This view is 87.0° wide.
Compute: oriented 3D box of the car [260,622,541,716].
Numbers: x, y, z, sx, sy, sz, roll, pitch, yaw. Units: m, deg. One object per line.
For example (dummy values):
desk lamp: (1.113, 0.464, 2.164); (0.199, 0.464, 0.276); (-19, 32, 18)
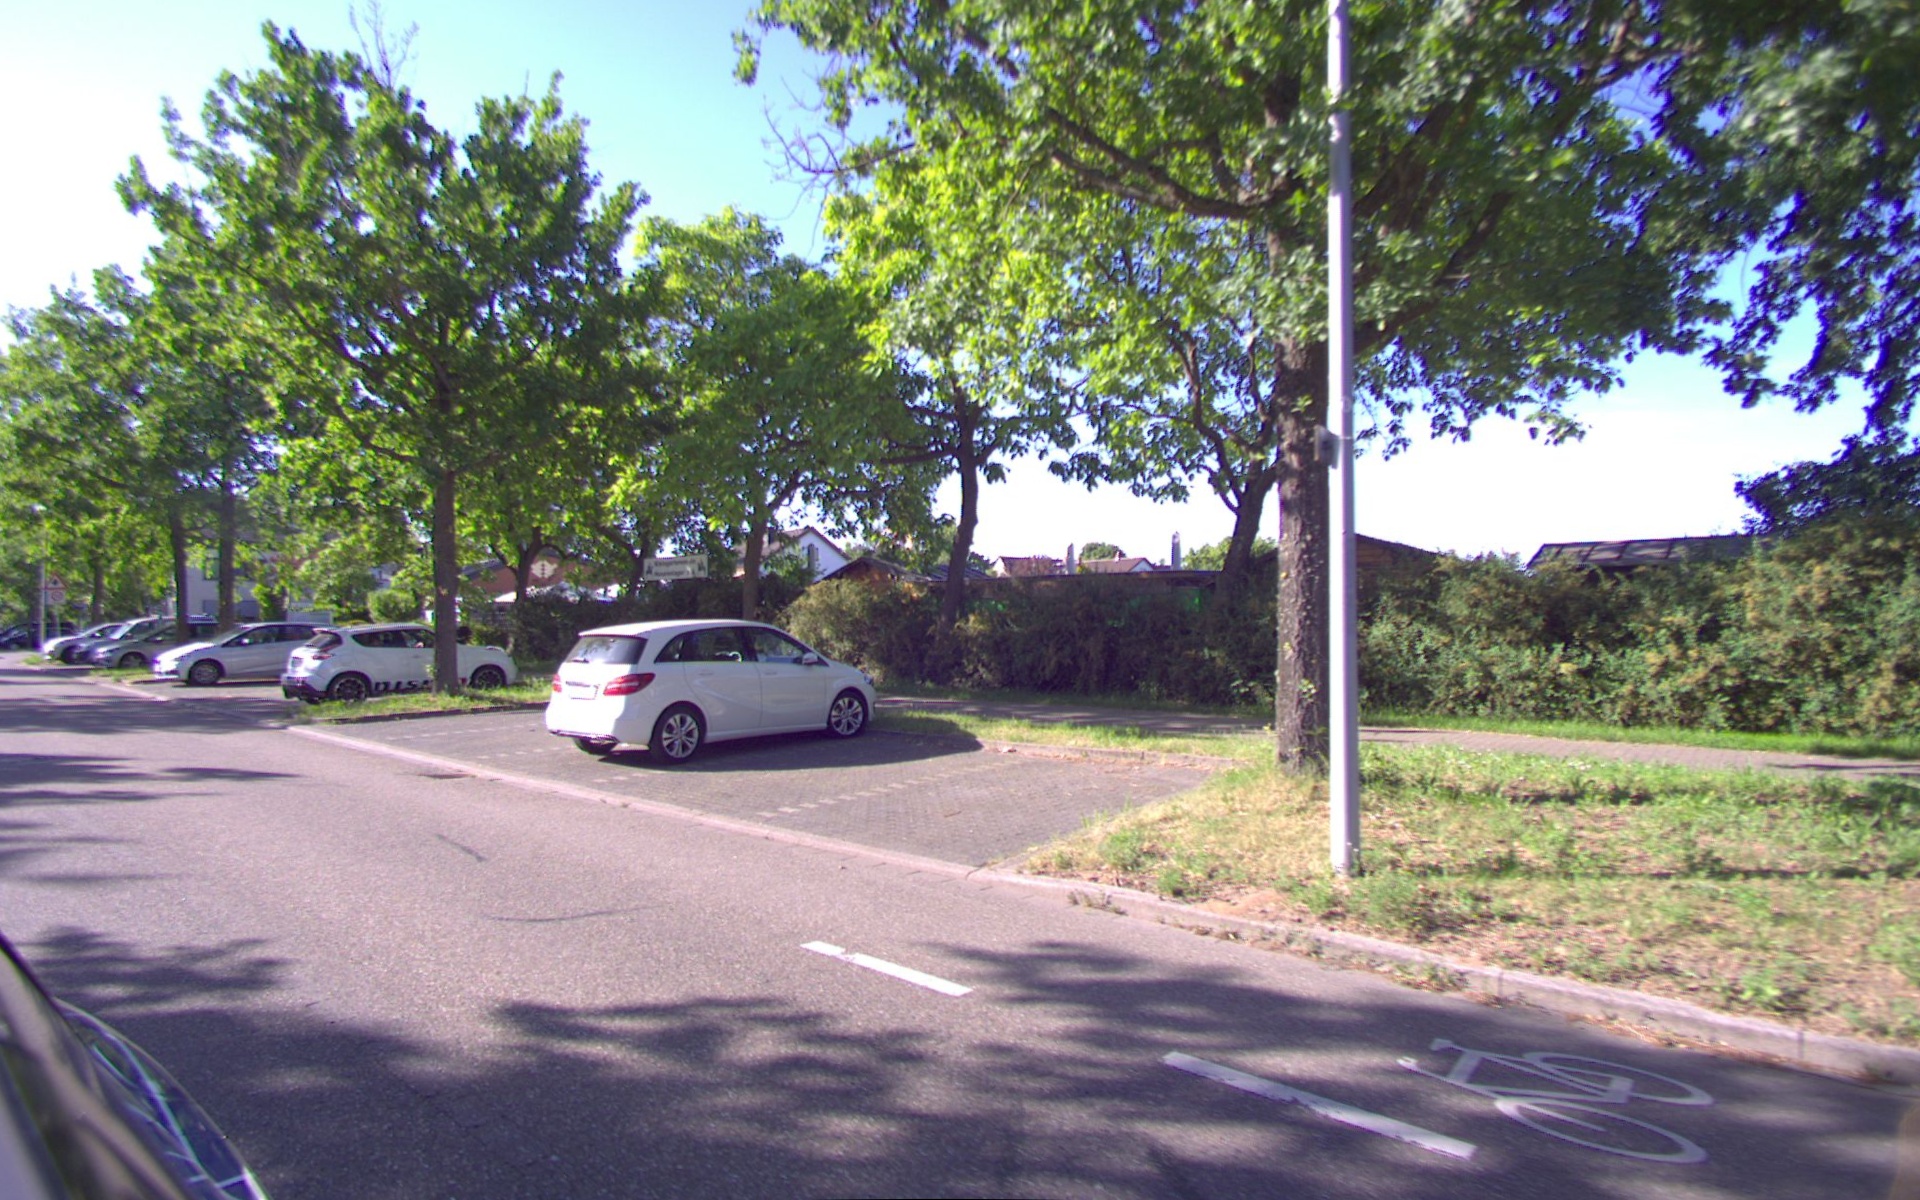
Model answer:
car: (-10.820, 1.257, 19.814); (2.087, 1.522, 4.367); (-2, -1, 40)

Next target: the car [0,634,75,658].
car: (-58.393, 2.892, 63.723); (3.977, 1.490, 1.943); (2, -3, -42)

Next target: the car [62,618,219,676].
car: (-29.818, 1.654, 36.923); (1.998, 1.898, 4.183); (-2, -1, 41)

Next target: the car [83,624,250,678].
car: (-26.072, 1.623, 33.346); (1.865, 1.568, 4.091); (-2, -1, 43)

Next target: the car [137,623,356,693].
car: (-18.650, 1.465, 26.586); (2.088, 1.568, 4.364); (-2, -1, 43)

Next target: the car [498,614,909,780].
car: (-2.952, 1.021, 12.568); (2.188, 1.570, 4.583); (-2, -1, 37)

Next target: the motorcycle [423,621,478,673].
motorcycle: (-15.167, 1.376, 30.107); (1.990, 1.443, 0.729); (-2, 1, 42)

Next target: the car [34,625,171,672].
car: (-34.056, 1.885, 40.254); (1.876, 1.655, 4.018); (-2, -1, 44)

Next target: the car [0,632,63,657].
car: (-68.623, 3.279, 74.362); (3.977, 1.791, 1.943); (2, -3, -42)
